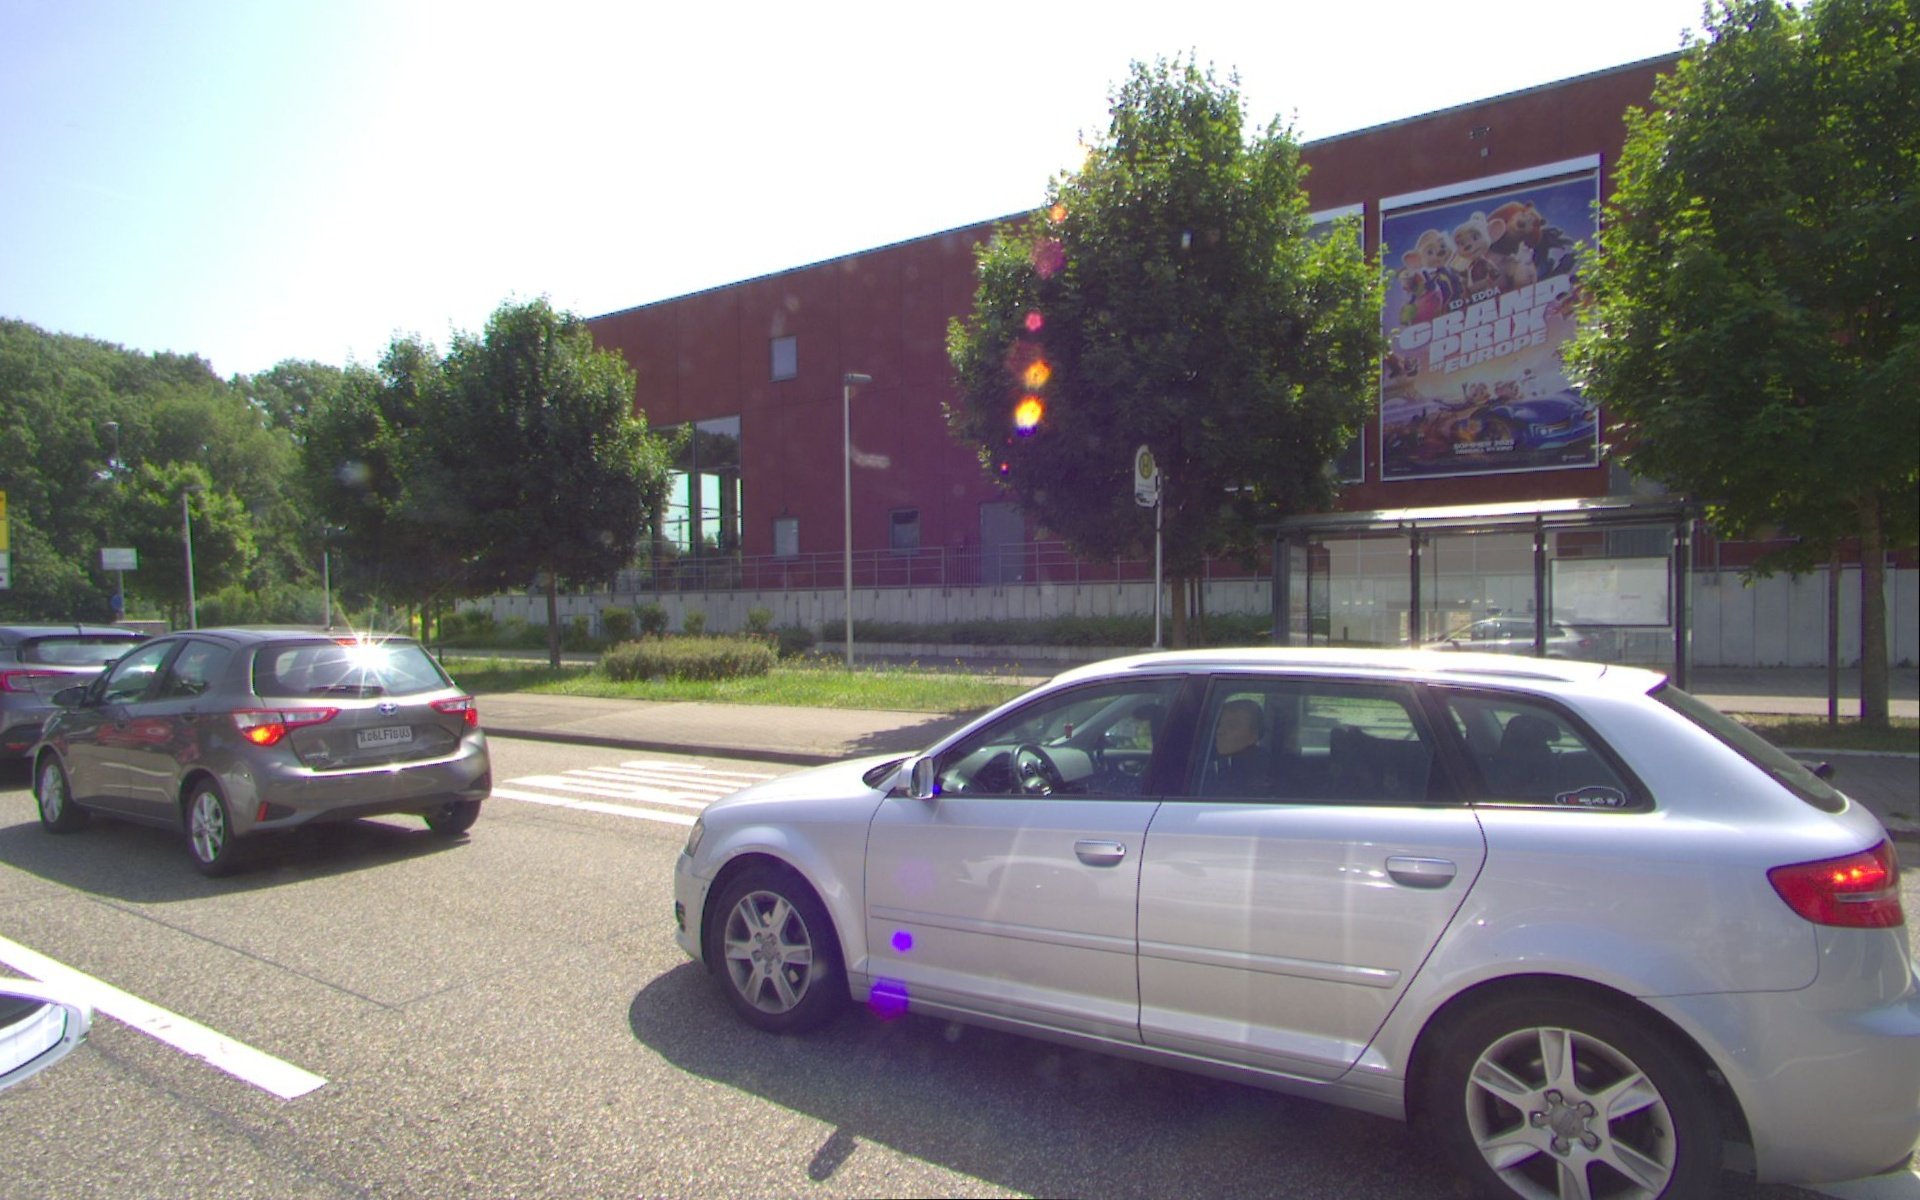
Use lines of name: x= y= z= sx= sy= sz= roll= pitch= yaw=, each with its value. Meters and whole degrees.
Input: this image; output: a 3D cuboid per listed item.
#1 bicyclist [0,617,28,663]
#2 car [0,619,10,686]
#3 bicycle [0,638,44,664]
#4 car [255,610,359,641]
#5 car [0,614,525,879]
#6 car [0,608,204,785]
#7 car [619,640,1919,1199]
bicyclist: x=-30.843 y=1.288 z=32.407 sx=0.587 sy=1.458 sz=0.829 roll=-1 pitch=1 yaw=-3
car: x=-24.318 y=1.228 z=23.659 sx=4.031 sy=1.566 sz=1.709 roll=-1 pitch=-1 yaw=31
bicycle: x=-30.857 y=1.647 z=32.518 sx=0.589 sy=0.776 sz=1.827 roll=-1 pitch=0 yaw=-3
car: x=-35.718 y=1.361 z=54.891 sx=1.772 sy=1.550 sz=4.463 roll=-1 pitch=0 yaw=31
car: x=-5.295 y=0.905 z=7.459 sx=4.031 sy=1.496 sz=1.711 roll=-1 pitch=-4 yaw=31
car: x=-10.113 y=0.915 z=10.827 sx=4.031 sy=1.614 sz=1.709 roll=-1 pitch=-1 yaw=31
car: x=0.801 y=0.856 z=3.718 sx=4.031 sy=1.379 sz=1.710 roll=-1 pitch=-2 yaw=31
